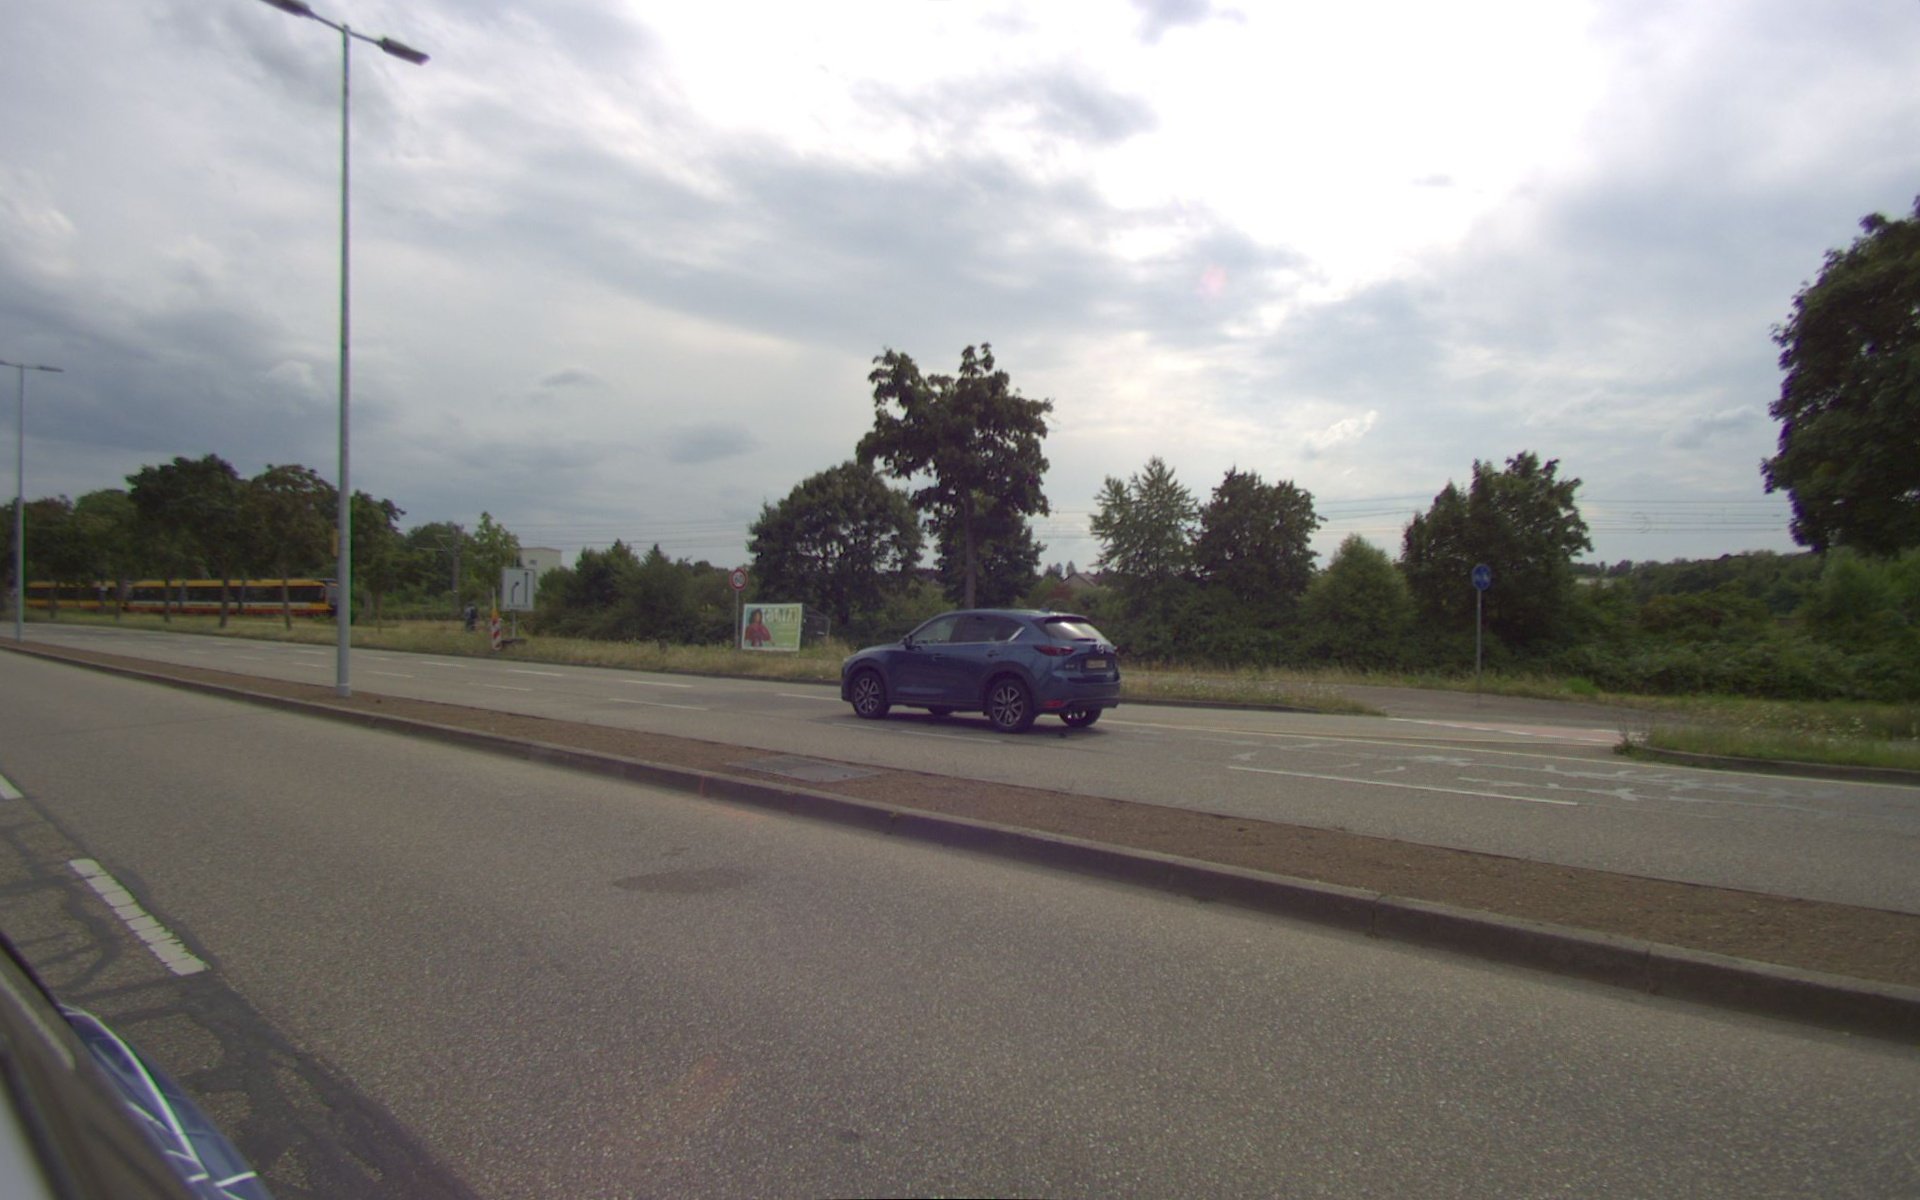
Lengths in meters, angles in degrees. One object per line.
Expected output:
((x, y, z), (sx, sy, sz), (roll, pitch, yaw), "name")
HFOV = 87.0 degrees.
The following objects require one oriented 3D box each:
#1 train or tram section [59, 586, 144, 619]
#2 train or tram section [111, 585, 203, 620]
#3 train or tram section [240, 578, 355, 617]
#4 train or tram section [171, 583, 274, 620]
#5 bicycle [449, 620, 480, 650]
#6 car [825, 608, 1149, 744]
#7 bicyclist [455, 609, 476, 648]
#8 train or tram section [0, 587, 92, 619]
((-92.271, 0.286, 108.666), (11.892, 3.447, 2.895), (0, 0, 28), "train or tram section")
((-81.827, 0.230, 103.033), (11.892, 3.447, 2.895), (0, 0, 28), "train or tram section")
((-60.536, -0.191, 92.409), (11.876, 3.447, 2.899), (0, 0, 25), "train or tram section")
((-71.248, 0.171, 97.632), (11.883, 3.447, 2.897), (0, 0, 26), "train or tram section")
((-24.139, 1.709, 49.265), (2.166, 1.433, 0.530), (-1, -3, 42), "bicycle")
((0.267, 0.977, 14.604), (4.562, 1.666, 1.828), (-1, -2, 41), "car")
((-24.040, 1.383, 49.194), (0.818, 1.846, 0.637), (-1, -2, 41), "bicyclist")
((-104.331, 0.351, 115.236), (15.585, 3.447, 2.895), (0, 0, 28), "train or tram section")
